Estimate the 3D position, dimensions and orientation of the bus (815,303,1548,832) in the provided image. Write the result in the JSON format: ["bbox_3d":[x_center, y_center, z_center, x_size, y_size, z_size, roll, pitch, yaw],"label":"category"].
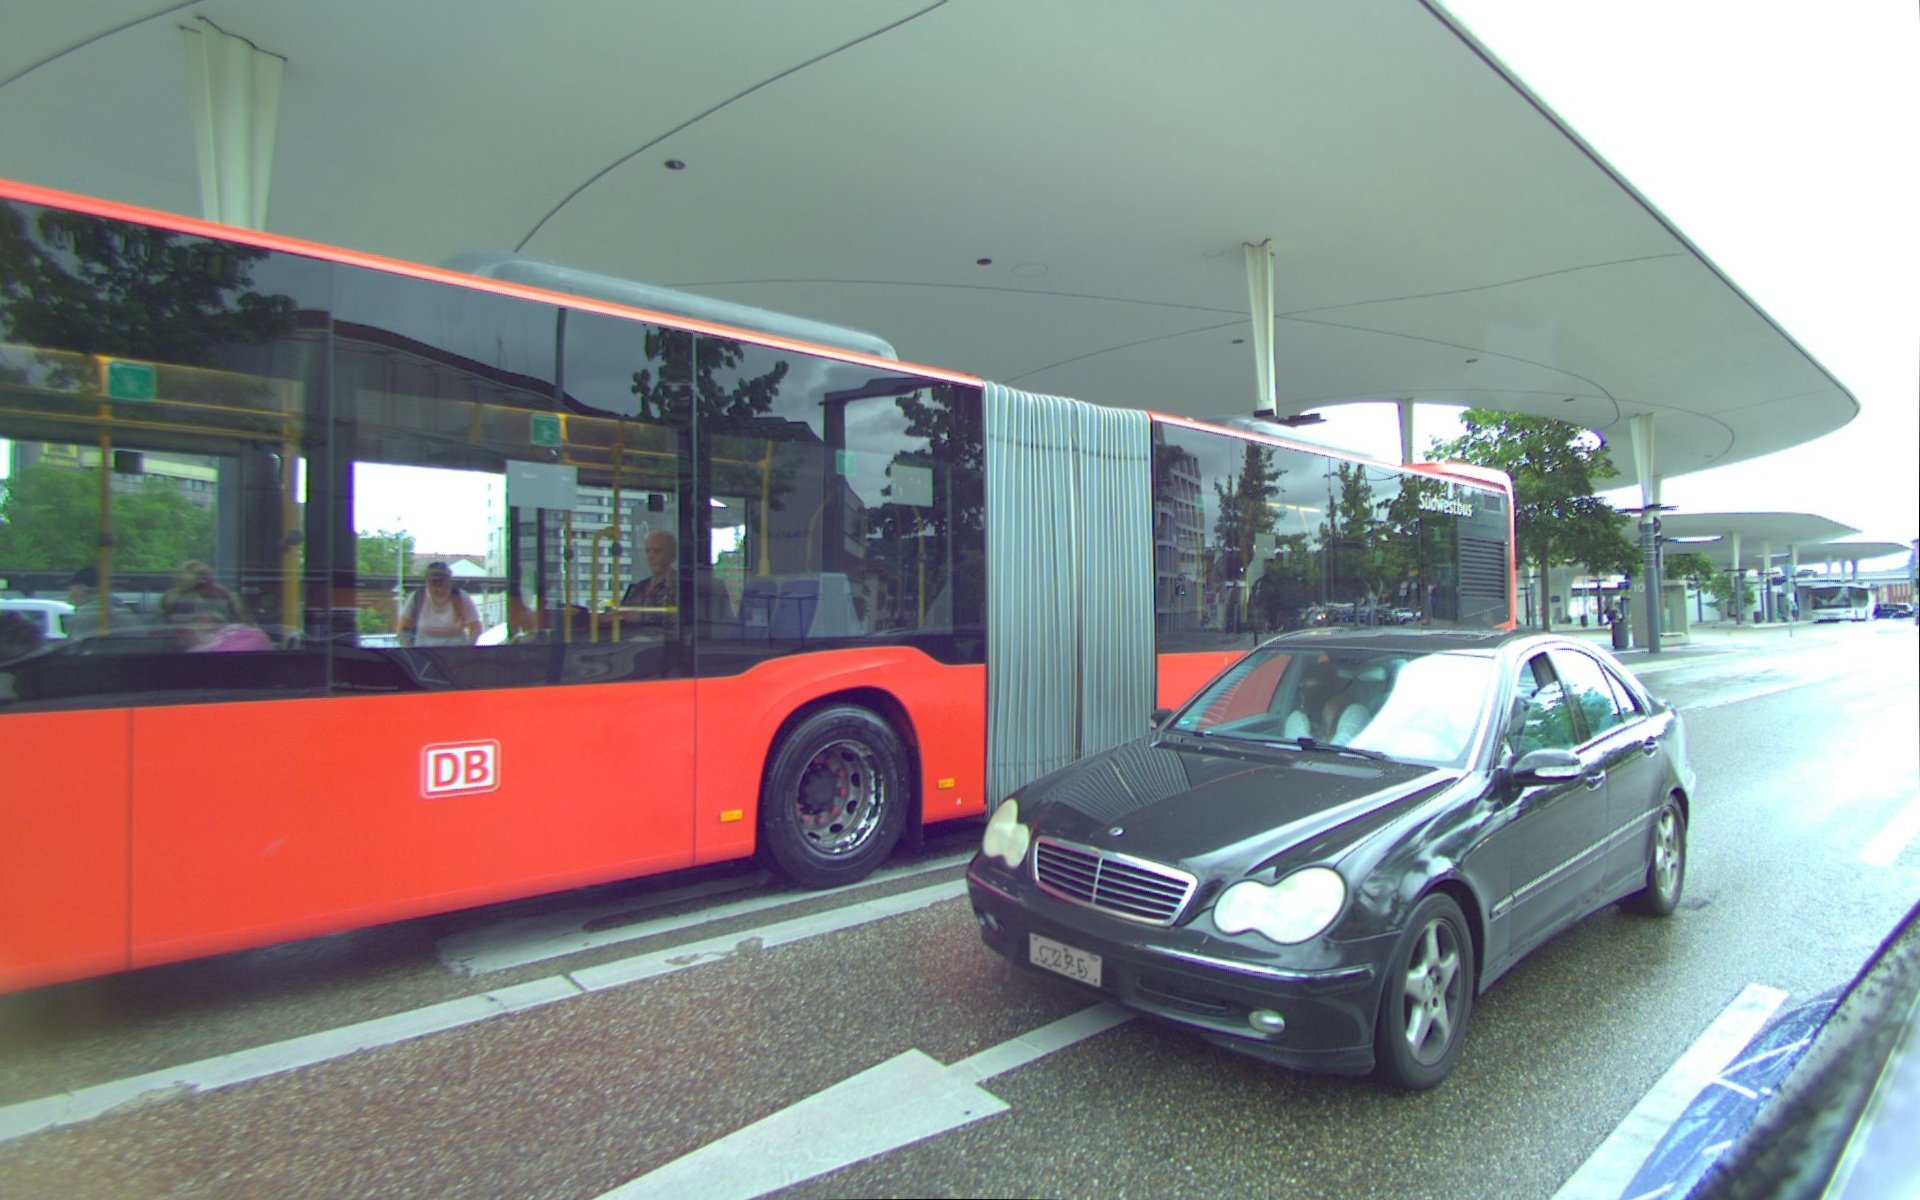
[{"bbox_3d":[2.711,-0.196,9.824,7.978,3.214,2.747,0,-1,-41],"label":"bus"}]

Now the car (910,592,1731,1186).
[{"bbox_3d":[2.004,0.739,4.703,4.360,1.499,1.747,0,-1,-43],"label":"car"}]

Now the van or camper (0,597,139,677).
[{"bbox_3d":[-30.343,1.158,32.724,5.867,2.495,2.106,0,-1,-41],"label":"van or camper"}]

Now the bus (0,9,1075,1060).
[{"bbox_3d":[-3.953,-0.201,4.028,10.016,3.214,2.747,0,-1,-41],"label":"bus"}]

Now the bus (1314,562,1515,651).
[{"bbox_3d":[19.710,0.319,43.258,12.143,3.148,2.997,0,-7,-42],"label":"bus"}]

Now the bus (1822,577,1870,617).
[{"bbox_3d":[74.764,-0.215,85.301,2.666,3.170,9.565,-1,-1,43],"label":"bus"}]

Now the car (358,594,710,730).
[{"bbox_3d":[-6.020,0.798,14.605,4.355,1.670,1.803,0,-2,-41],"label":"car"}]
